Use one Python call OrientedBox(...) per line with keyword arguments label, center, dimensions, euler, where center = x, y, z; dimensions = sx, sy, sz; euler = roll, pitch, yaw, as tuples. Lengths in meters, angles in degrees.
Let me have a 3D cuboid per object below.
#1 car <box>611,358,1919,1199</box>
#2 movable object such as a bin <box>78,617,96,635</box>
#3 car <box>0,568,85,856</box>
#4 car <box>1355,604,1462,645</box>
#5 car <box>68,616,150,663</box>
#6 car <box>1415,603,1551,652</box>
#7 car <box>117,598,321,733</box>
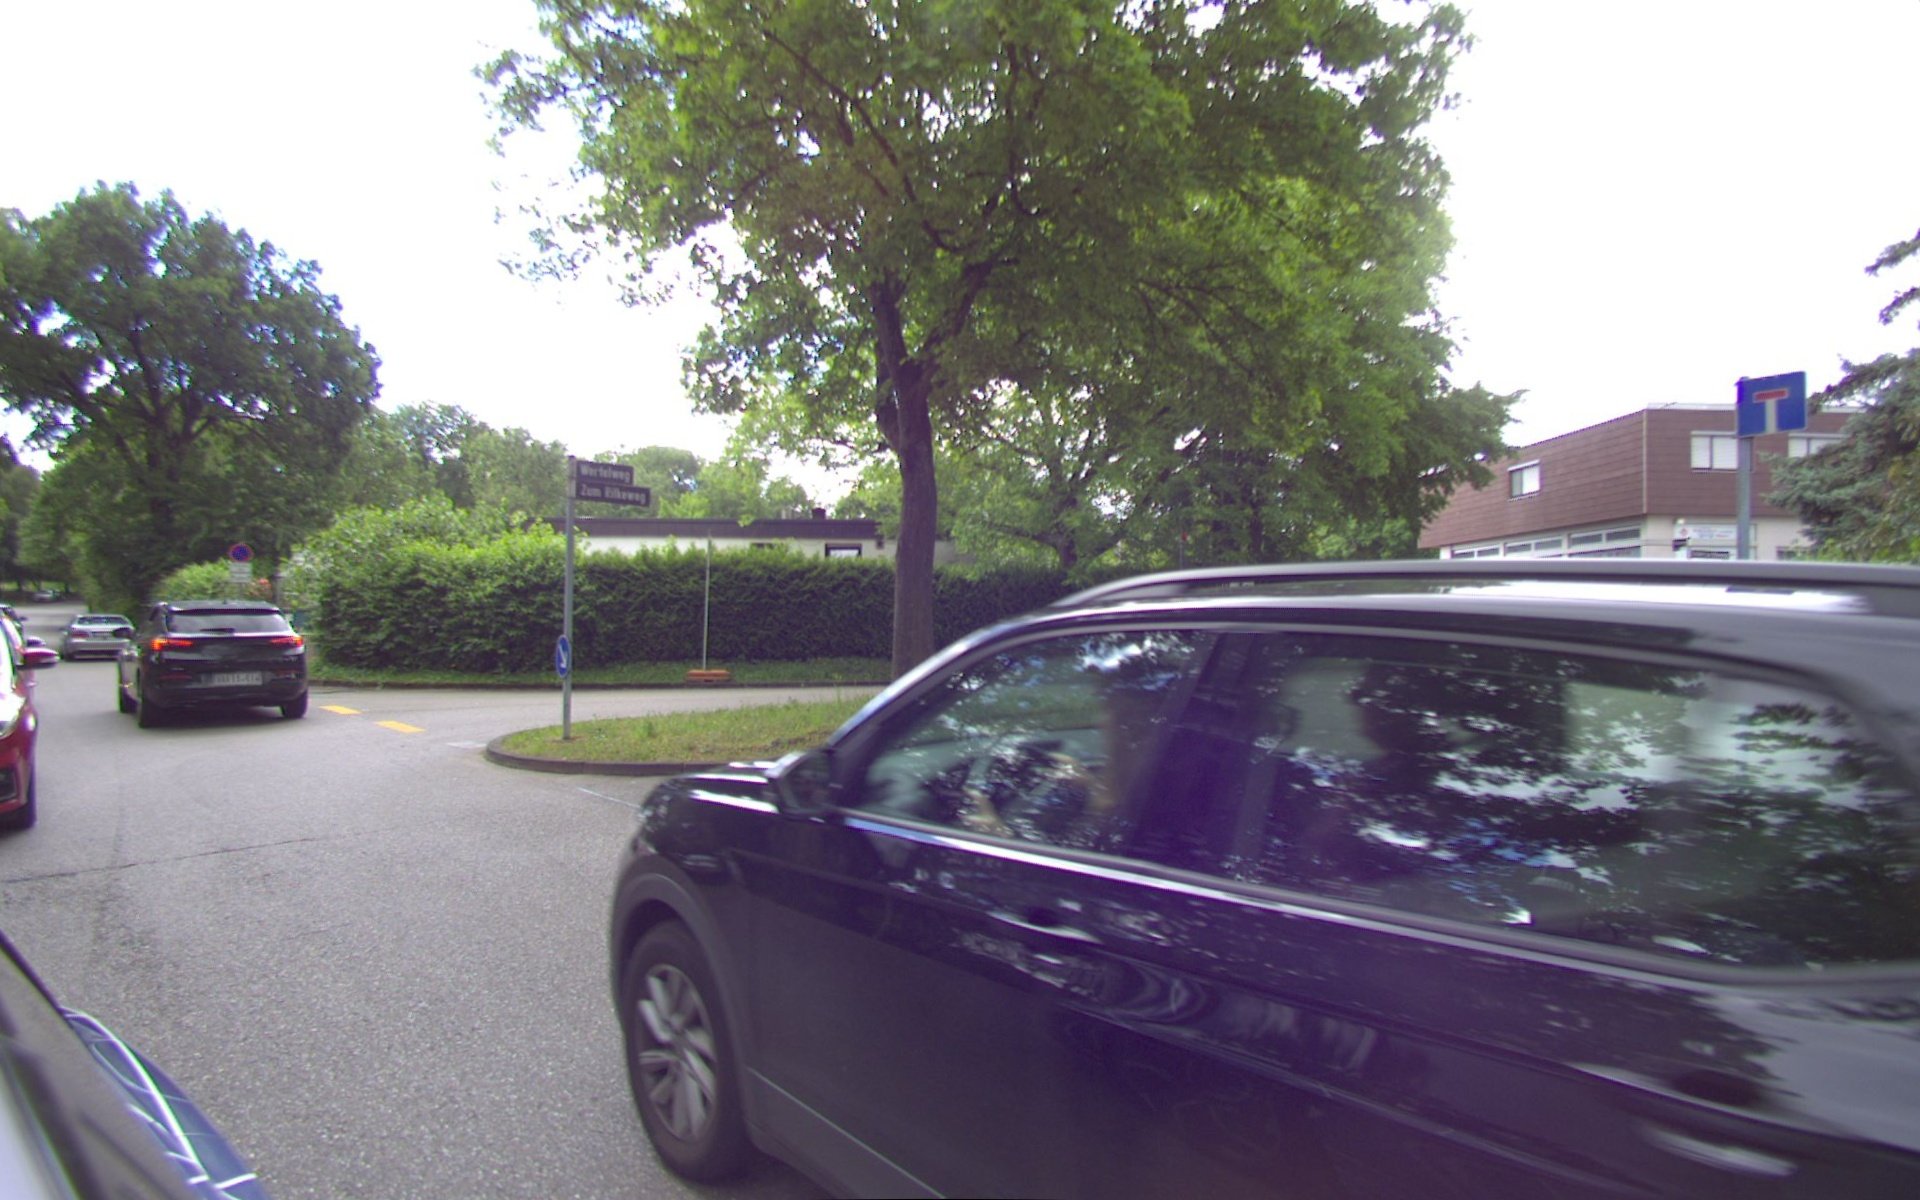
OrientedBox(label="car", center=(1.154, 0.615, 1.768), dimensions=(1.781, 1.603, 4.301), euler=(1, -1, -42))
OrientedBox(label="movable object such as a bin", center=(-52.616, 1.555, 61.013), dimensions=(0.639, 1.020, 0.634), euler=(3, -1, -28))
OrientedBox(label="car", center=(-7.637, 0.618, 7.251), dimensions=(1.789, 1.740, 4.008), euler=(4, -2, -38))
OrientedBox(label="car", center=(16.465, 0.895, 37.393), dimensions=(1.946, 1.386, 4.002), euler=(-1, -1, -3))
OrientedBox(label="car", center=(-25.538, 1.141, 30.333), dimensions=(1.759, 1.316, 4.302), euler=(1, -1, -41))
OrientedBox(label="car", center=(16.471, 0.847, 32.163), dimensions=(1.971, 1.386, 4.279), euler=(-2, -1, -1))
OrientedBox(label="car", center=(-10.497, 0.817, 14.211), dimensions=(1.782, 1.603, 4.300), euler=(1, -1, -43))
